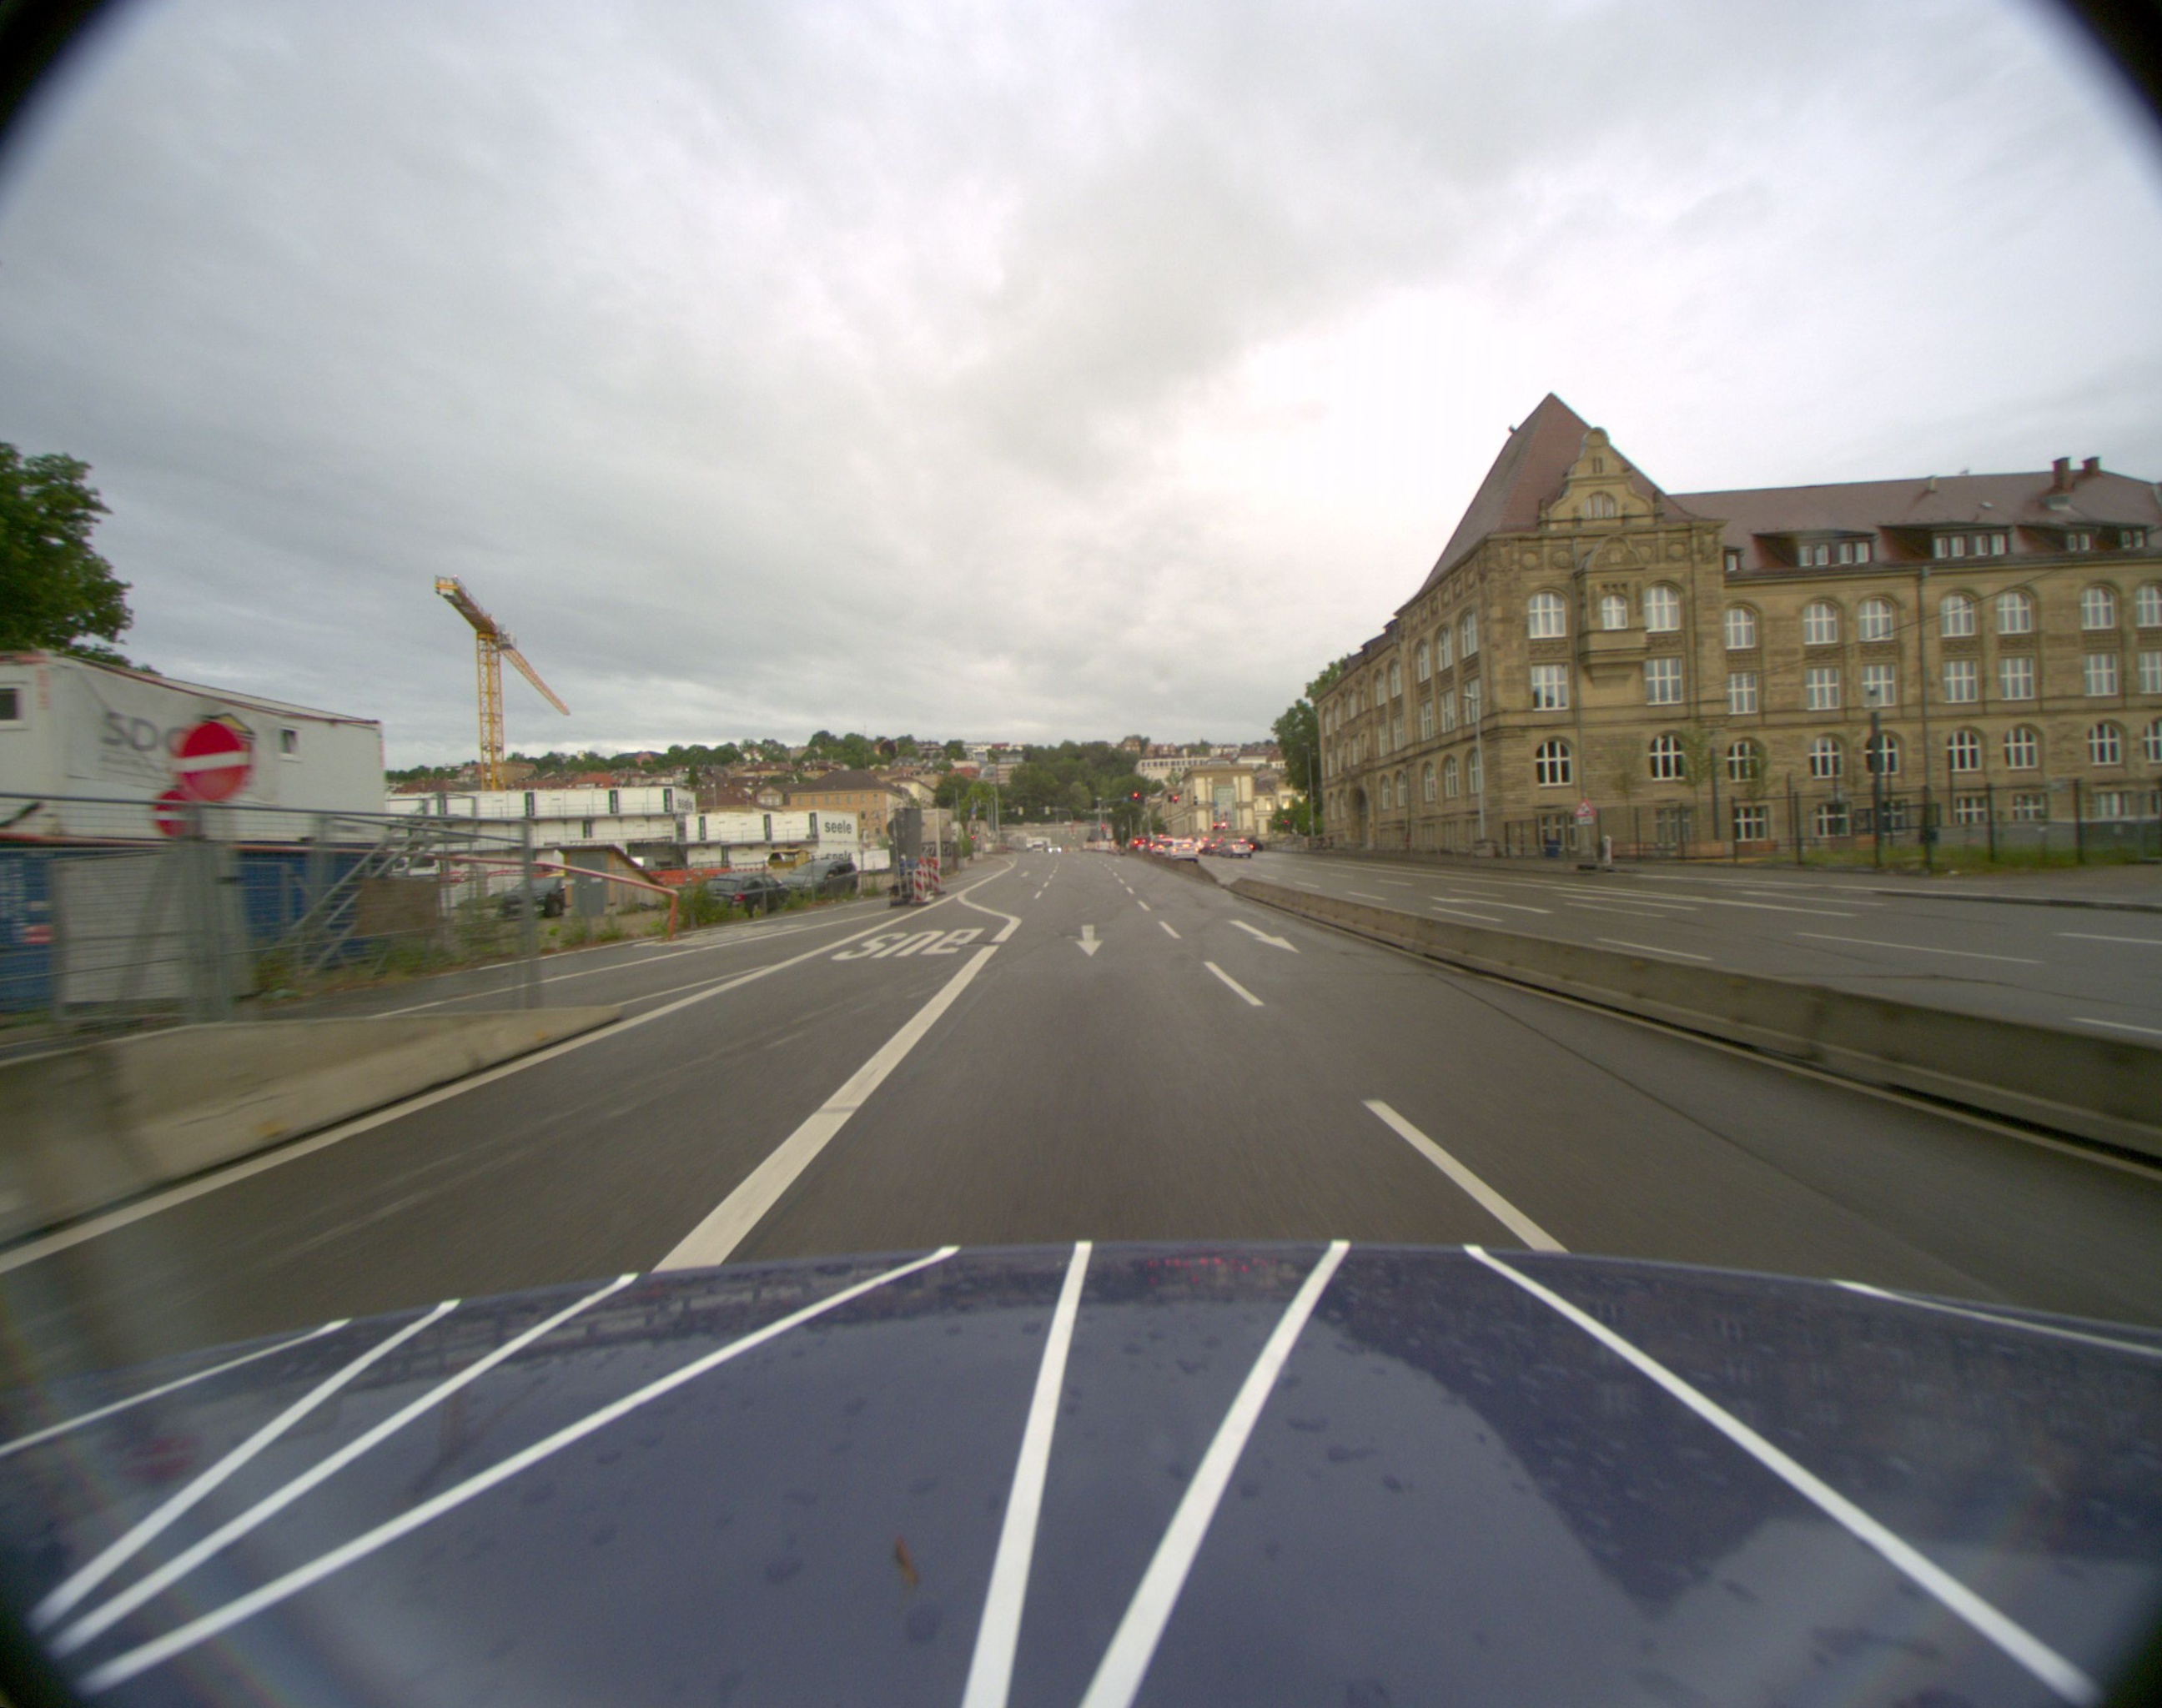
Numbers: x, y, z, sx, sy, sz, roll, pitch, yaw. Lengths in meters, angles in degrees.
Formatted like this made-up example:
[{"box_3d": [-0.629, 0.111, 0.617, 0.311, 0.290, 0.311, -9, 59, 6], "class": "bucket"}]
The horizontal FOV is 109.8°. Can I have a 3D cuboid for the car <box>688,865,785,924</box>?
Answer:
[{"box_3d": [-11.623, 1.300, 25.918, 1.857, 1.477, 3.994, -1, 5, -7], "class": "car"}]

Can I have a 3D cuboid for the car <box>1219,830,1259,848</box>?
[{"box_3d": [12.845, -1.275, 62.093, 1.999, 1.375, 4.208, -1, 2, -6], "class": "car"}]

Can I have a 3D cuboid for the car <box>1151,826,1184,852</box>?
[{"box_3d": [6.553, -1.171, 58.232, 1.914, 1.856, 4.376, -1, 2, -2], "class": "car"}]

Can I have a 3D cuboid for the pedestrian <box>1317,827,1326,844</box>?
[{"box_3d": [22.851, -1.734, 72.309, 0.618, 1.576, 0.734, -1, 3, 0], "class": "pedestrian"}]

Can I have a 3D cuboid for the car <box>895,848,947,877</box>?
[{"box_3d": [-9.483, 0.470, 45.267, 1.837, 1.433, 4.412, -4, 2, 3], "class": "car"}]

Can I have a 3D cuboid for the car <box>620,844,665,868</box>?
[{"box_3d": [-36.959, 0.152, 64.199, 2.001, 1.877, 4.975, 0, 2, -15], "class": "car"}]

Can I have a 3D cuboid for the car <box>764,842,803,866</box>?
[{"box_3d": [-24.846, -0.051, 63.545, 2.020, 1.891, 4.649, -1, 2, -9], "class": "car"}]

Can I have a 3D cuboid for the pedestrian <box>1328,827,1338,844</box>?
[{"box_3d": [23.914, -1.749, 72.013, 0.618, 1.576, 0.734, -1, 3, -7], "class": "pedestrian"}]

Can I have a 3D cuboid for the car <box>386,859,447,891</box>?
[{"box_3d": [-53.804, 1.653, 61.518, 4.390, 2.370, 2.154, 1, 3, 28], "class": "car"}]

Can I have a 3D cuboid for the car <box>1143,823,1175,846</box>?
[{"box_3d": [6.614, -1.700, 64.829, 1.999, 1.856, 5.592, -1, 2, -2], "class": "car"}]

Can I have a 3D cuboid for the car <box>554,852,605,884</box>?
[{"box_3d": [-42.171, 1.115, 63.979, 2.001, 2.428, 4.975, -1, 2, -15], "class": "car"}]

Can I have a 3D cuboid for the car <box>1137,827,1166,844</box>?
[{"box_3d": [6.638, -1.760, 72.049, 1.999, 1.493, 4.818, -1, 2, -3], "class": "car"}]

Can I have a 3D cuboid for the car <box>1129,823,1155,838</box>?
[{"box_3d": [6.233, -2.434, 78.214, 1.999, 1.559, 5.378, -1, 2, -3], "class": "car"}]

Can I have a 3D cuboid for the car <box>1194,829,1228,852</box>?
[{"box_3d": [11.906, -1.297, 69.792, 2.000, 2.002, 3.995, -1, 2, -8], "class": "car"}]

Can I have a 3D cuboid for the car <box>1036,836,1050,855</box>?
[{"box_3d": [-8.670, -1.945, 174.148, 2.836, 3.992, 8.721, -1, 2, 1], "class": "car"}]

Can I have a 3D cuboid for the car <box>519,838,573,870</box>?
[{"box_3d": [-44.609, -0.041, 63.523, 2.001, 2.546, 4.975, 0, 2, -15], "class": "car"}]

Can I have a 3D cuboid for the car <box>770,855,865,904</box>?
[{"box_3d": [-10.854, 0.975, 31.688, 1.925, 1.640, 4.414, 3, 2, 7], "class": "car"}]

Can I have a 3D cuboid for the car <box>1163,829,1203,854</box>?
[{"box_3d": [6.808, -0.899, 51.297, 1.899, 1.559, 4.895, -1, 2, -2], "class": "car"}]

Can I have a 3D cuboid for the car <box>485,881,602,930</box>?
[{"box_3d": [-19.490, 1.813, 27.776, 1.717, 1.299, 3.996, -4, 3, -7], "class": "car"}]

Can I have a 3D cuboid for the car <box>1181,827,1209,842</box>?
[{"box_3d": [11.484, -1.981, 76.733, 1.999, 1.375, 4.208, -1, 2, -4], "class": "car"}]

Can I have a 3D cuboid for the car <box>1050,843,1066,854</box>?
[{"box_3d": [-3.675, -0.902, 120.227, 2.000, 1.562, 3.996, -1, 2, -8], "class": "car"}]

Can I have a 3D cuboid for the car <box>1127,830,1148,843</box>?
[{"box_3d": [6.420, -2.028, 87.213, 1.999, 1.463, 4.558, -1, 2, -1], "class": "car"}]
